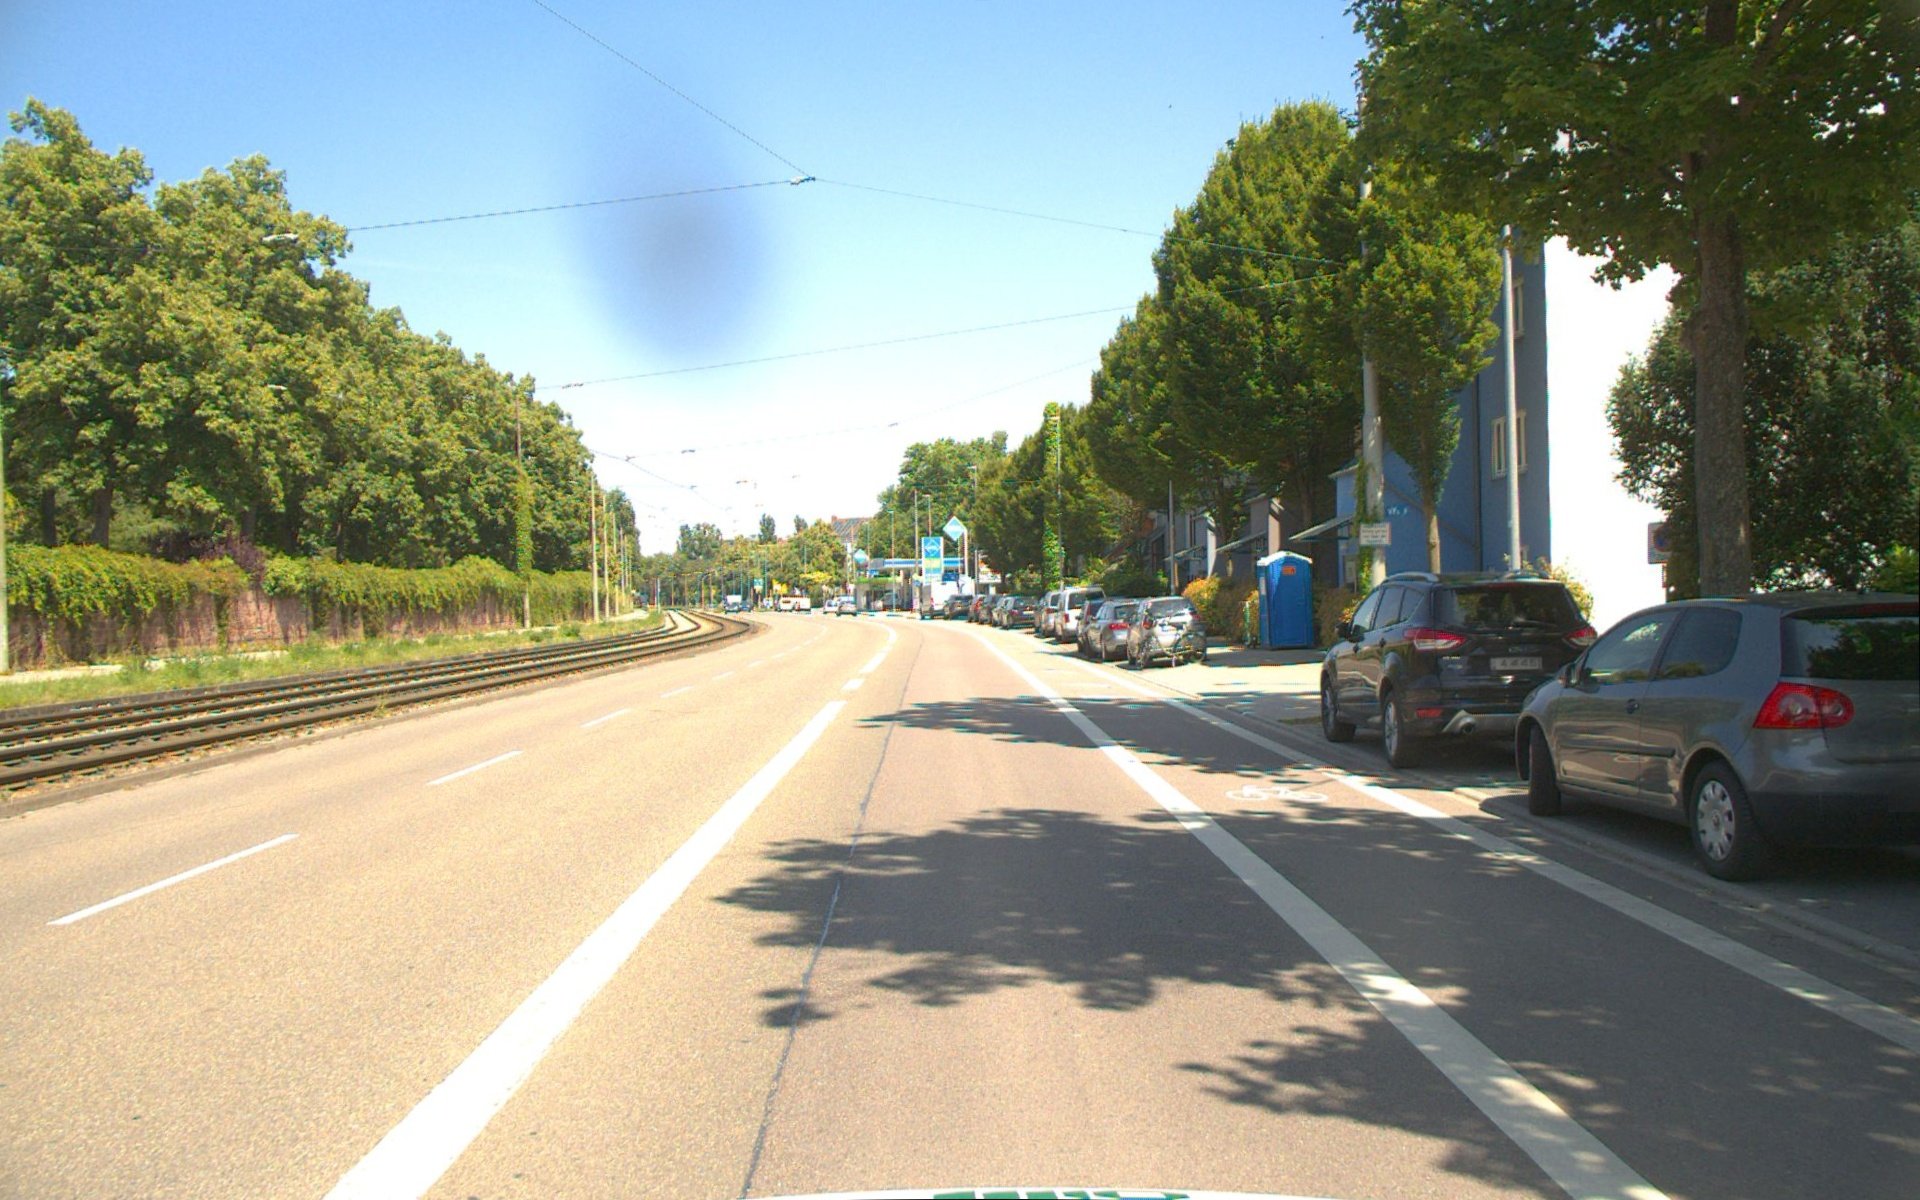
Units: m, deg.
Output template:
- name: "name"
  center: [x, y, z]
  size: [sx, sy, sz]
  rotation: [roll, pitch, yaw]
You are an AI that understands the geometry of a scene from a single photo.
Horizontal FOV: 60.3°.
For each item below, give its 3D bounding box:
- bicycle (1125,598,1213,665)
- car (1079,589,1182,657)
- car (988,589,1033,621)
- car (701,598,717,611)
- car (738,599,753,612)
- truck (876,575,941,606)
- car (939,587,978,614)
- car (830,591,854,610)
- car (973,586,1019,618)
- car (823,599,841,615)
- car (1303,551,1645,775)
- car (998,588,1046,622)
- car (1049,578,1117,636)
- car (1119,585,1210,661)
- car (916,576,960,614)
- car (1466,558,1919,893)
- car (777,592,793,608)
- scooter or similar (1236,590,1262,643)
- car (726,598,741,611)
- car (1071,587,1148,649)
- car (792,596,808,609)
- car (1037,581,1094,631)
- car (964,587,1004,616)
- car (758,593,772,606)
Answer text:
- name: "bicycle"
  center: [4.516, 0.669, 35.812]
  size: [1.737, 1.249, 0.684]
  rotation: [-6, 0, 3]
- name: "car"
  center: [4.342, 0.542, 42.857]
  size: [1.804, 1.556, 4.963]
  rotation: [-4, 1, -3]
- name: "car"
  center: [2.617, 0.228, 86.831]
  size: [1.674, 1.518, 4.726]
  rotation: [-4, 1, -5]
- name: "car"
  center: [-36.005, 0.638, 236.794]
  size: [1.727, 1.658, 4.306]
  rotation: [-4, 1, -15]
- name: "car"
  center: [-30.233, 0.762, 233.115]
  size: [1.724, 1.658, 4.314]
  rotation: [-4, 1, -10]
- name: "truck"
  center: [-6.332, -1.152, 201.909]
  size: [7.810, 3.665, 2.661]
  rotation: [-1, 0, -4]
- name: "car"
  center: [-0.107, 0.026, 107.867]
  size: [1.724, 1.658, 4.314]
  rotation: [-4, 1, -10]
- name: "car"
  center: [-11.059, 0.011, 155.227]
  size: [1.724, 1.658, 4.314]
  rotation: [-4, 1, -10]
- name: "car"
  center: [1.993, 0.108, 92.014]
  size: [1.676, 1.589, 4.313]
  rotation: [-4, 1, -10]
- name: "car"
  center: [-14.527, 0.783, 187.480]
  size: [1.723, 1.658, 4.316]
  rotation: [-4, 1, -8]
- name: "car"
  center: [4.715, 0.490, 15.935]
  size: [1.803, 1.736, 4.626]
  rotation: [-4, 1, 1]
- name: "car"
  center: [3.008, 0.229, 80.852]
  size: [1.674, 1.518, 5.033]
  rotation: [-4, 1, -5]
- name: "car"
  center: [4.267, 0.225, 57.833]
  size: [1.804, 1.825, 4.352]
  rotation: [-4, 1, -2]
- name: "car"
  center: [4.629, 0.486, 37.853]
  size: [1.488, 1.556, 3.816]
  rotation: [-4, 1, -1]
- name: "car"
  center: [-1.604, -0.369, 117.957]
  size: [1.965, 2.499, 6.093]
  rotation: [-4, 1, -11]
- name: "car"
  center: [4.872, 0.583, 10.345]
  size: [1.804, 1.556, 4.351]
  rotation: [-4, 1, -3]
- name: "car"
  center: [-23.109, 0.000, 218.618]
  size: [1.724, 1.907, 4.314]
  rotation: [-4, 1, -10]
- name: "scooter or similar"
  center: [7.165, 0.397, 41.036]
  size: [0.376, 1.302, 1.338]
  rotation: [0, 0, -1]
- name: "car"
  center: [-29.578, 0.532, 215.844]
  size: [1.724, 1.535, 4.314]
  rotation: [-4, 1, -10]
- name: "car"
  center: [4.282, 0.485, 47.892]
  size: [1.803, 1.556, 4.216]
  rotation: [-4, 1, 1]
- name: "car"
  center: [-21.930, 0.366, 226.945]
  size: [1.724, 1.658, 4.314]
  rotation: [-4, 1, -10]
- name: "car"
  center: [4.038, 0.201, 64.014]
  size: [1.803, 1.723, 4.778]
  rotation: [-4, 1, 0]
- name: "car"
  center: [1.397, 0.088, 97.919]
  size: [1.675, 1.589, 4.315]
  rotation: [-4, 1, -8]
- name: "car"
  center: [-26.277, -0.094, 222.775]
  size: [1.723, 1.658, 4.316]
  rotation: [-4, 1, -8]
